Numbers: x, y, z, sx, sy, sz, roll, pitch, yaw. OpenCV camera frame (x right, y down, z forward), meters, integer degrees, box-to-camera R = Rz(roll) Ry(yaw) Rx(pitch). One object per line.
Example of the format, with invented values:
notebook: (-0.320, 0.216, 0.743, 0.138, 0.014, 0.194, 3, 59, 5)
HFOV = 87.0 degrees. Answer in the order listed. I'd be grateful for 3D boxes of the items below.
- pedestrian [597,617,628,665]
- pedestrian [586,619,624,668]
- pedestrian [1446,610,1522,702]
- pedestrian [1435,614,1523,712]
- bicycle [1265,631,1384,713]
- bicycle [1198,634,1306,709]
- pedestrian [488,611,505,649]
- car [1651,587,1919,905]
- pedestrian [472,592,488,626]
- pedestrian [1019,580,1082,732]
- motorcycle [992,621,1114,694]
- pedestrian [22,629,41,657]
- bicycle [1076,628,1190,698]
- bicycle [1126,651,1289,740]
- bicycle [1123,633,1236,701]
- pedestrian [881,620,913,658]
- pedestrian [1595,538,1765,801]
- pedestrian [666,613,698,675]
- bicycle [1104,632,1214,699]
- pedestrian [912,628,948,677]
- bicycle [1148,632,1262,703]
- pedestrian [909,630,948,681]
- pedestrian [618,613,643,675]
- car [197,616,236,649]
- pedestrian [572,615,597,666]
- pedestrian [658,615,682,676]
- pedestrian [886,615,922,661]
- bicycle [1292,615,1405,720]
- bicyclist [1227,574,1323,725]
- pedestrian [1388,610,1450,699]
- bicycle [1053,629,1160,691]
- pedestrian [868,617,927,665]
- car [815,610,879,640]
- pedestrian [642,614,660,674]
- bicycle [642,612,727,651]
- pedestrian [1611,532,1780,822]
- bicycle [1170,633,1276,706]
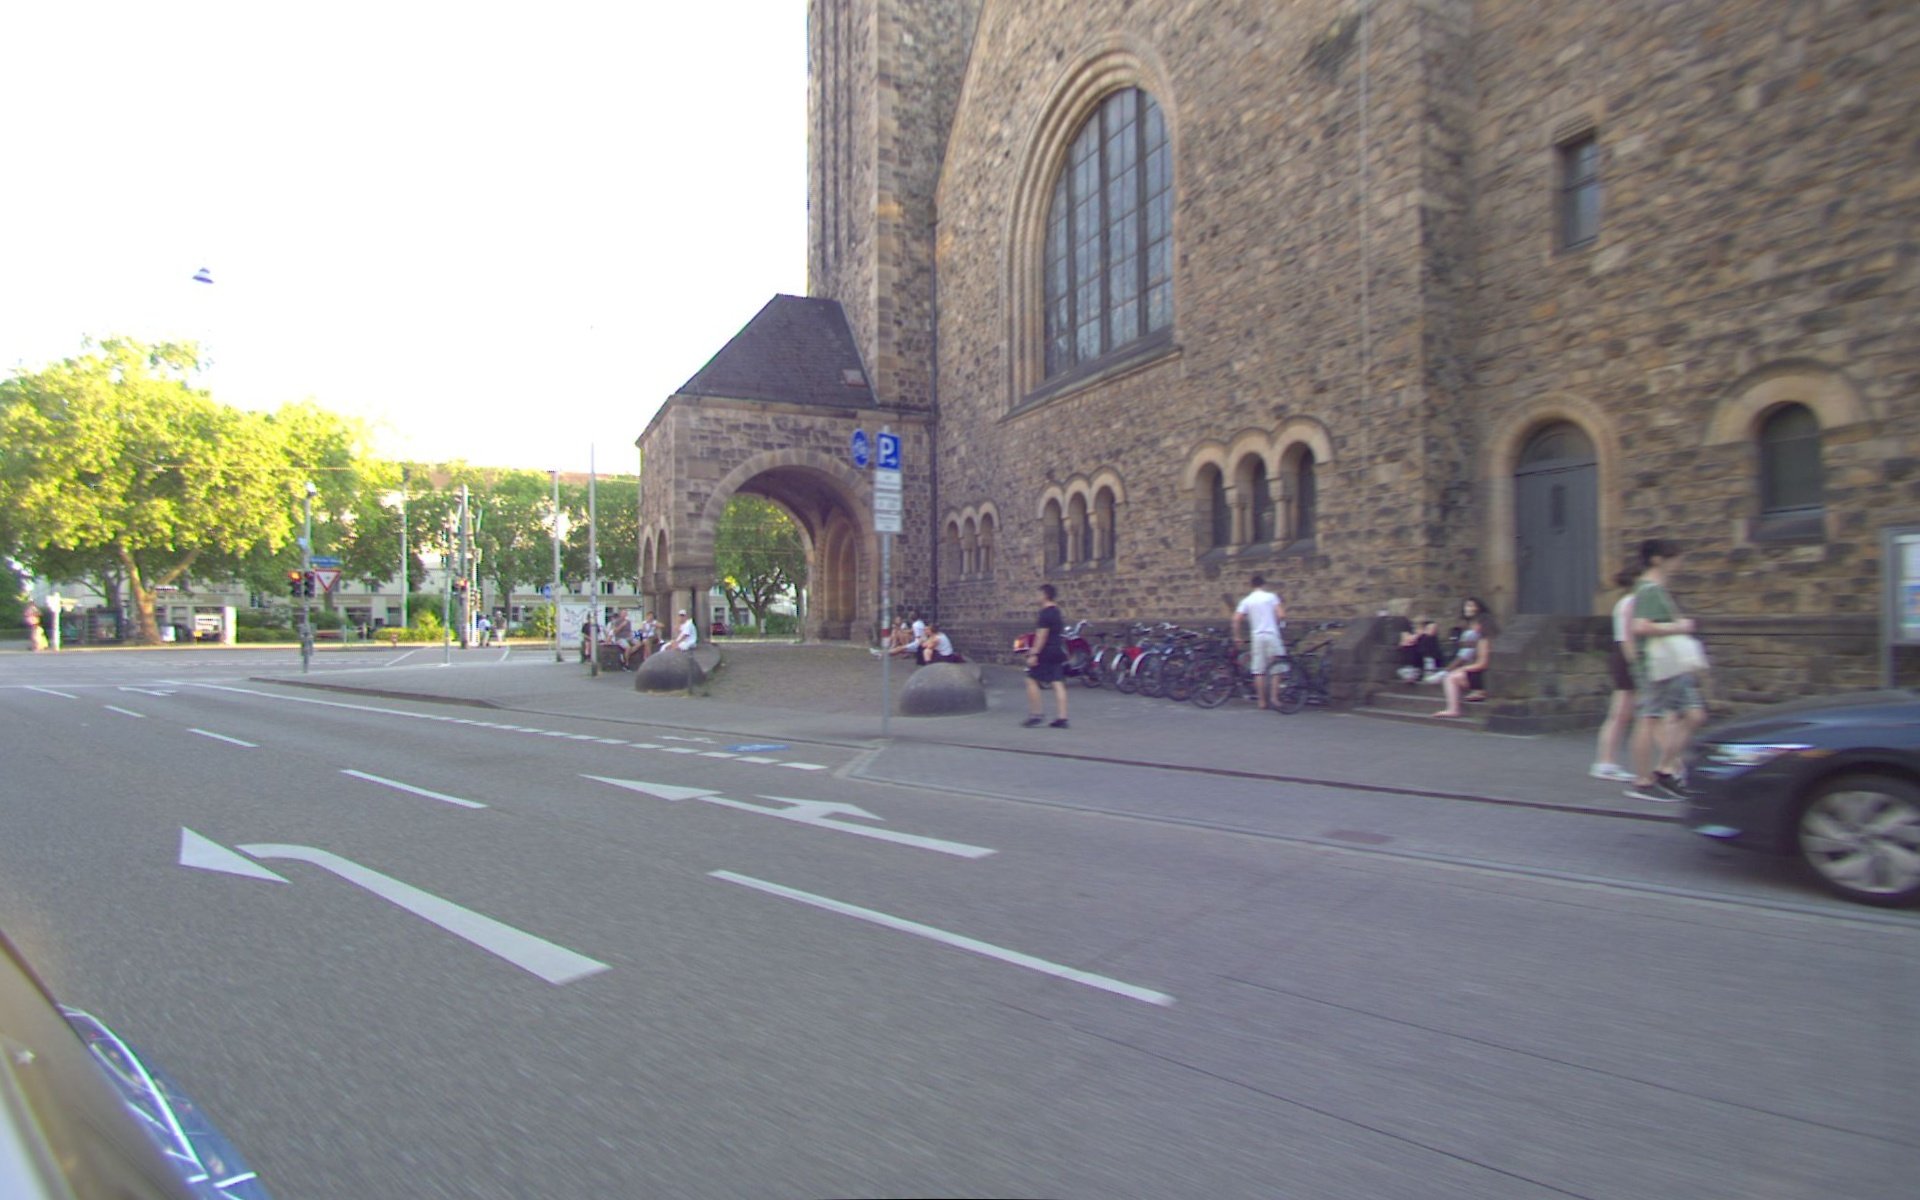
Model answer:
pedestrian: (-10.176, 1.190, 29.657, 0.790, 1.385, 0.701, 0, -2, -15)
pedestrian: (-10.083, 1.227, 28.762, 0.793, 1.385, 0.699, 0, -2, 2)
pedestrian: (6.232, 0.656, 12.041, 0.490, 1.056, 0.609, 0, -1, -29)
pedestrian: (5.846, 0.695, 11.416, 0.509, 1.064, 0.702, 0, -2, -32)
bicycle: (4.748, 0.904, 13.130, 1.853, 0.997, 0.442, 1, -2, -34)
bicycle: (4.180, 0.988, 14.425, 1.853, 0.997, 0.371, 1, -2, -35)
pedestrian: (-23.463, 1.515, 51.269, 0.699, 1.861, 1.163, 0, -2, -29)
car: (5.799, 0.652, 4.480, 4.315, 1.446, 1.764, -2, -2, 43)
pedestrian: (-24.248, 0.461, 51.119, 0.708, 1.646, 1.010, 0, -2, -29)
pedestrian: (1.085, 0.648, 12.005, 0.708, 1.738, 0.690, 0, -2, 8)
motorcycle: (1.689, 0.983, 17.990, 0.822, 1.134, 2.387, -2, 0, 45)
pedestrian: (-55.998, 2.598, 61.054, 0.734, 1.641, 0.661, 0, -2, -32)
bicycle: (2.895, 1.017, 16.824, 1.975, 0.996, 0.587, -3, 0, -34)
bicycle: (3.293, 1.234, 13.431, 2.150, 1.020, 0.555, -1, 0, -21)
bicycle: (3.438, 1.016, 15.767, 1.974, 0.997, 0.467, 1, -2, -34)
pedestrian: (-1.553, 0.963, 24.943, 0.730, 0.923, 0.647, 0, -1, 1)
pedestrian: (5.488, 0.505, 7.739, 0.987, 1.870, 0.567, -2, -2, 38)
pedestrian: (-6.442, 1.008, 23.452, 0.692, 1.417, 0.634, 0, -2, -14)
bicycle: (3.202, 1.027, 16.223, 1.974, 0.997, 0.467, 1, -2, -34)
pedestrian: (-0.609, 1.066, 20.722, 0.642, 0.975, 0.560, -1, -2, 8)
bicycle: (3.737, 0.998, 15.345, 1.957, 0.997, 0.467, 1, -2, -34)
pedestrian: (-0.627, 1.092, 20.114, 0.688, 0.999, 0.560, -1, -2, 8)
pedestrian: (-7.880, 1.043, 24.208, 0.541, 1.464, 0.559, 0, -2, -14)
car: (-47.333, 2.080, 64.466, 1.837, 2.029, 3.820, 1, -2, -34)
pedestrian: (-10.888, 1.172, 29.343, 0.619, 1.465, 0.918, 0, -2, -23)
pedestrian: (-6.858, 1.065, 23.942, 0.539, 1.417, 0.460, 0, -2, -14)
pedestrian: (-1.334, 0.915, 24.269, 0.819, 1.084, 0.647, 0, -1, 1)
bicycle: (4.929, 0.821, 12.803, 1.705, 1.258, 0.438, 1, -2, -35)
bicyclist: (4.131, 0.620, 13.273, 0.926, 1.894, 0.710, -1, -1, -27)
pedestrian: (5.645, 0.656, 12.472, 0.514, 1.056, 0.736, -1, -1, 11)
bicycle: (2.548, 1.015, 17.488, 1.975, 0.997, 0.587, 1, -2, -36)
pedestrian: (-1.444, 0.947, 23.575, 1.315, 1.102, 0.685, 0, -1, 2)
car: (-10.369, 2.285, 93.239, 5.482, 2.638, 2.006, 0, -2, -25)
pedestrian: (-7.466, 1.062, 24.462, 0.395, 1.417, 0.549, 0, -2, -14)
bicycle: (-7.770, 0.879, 28.630, 2.247, 1.065, 0.597, 1, -2, -31)
pedestrian: (5.175, 0.513, 7.141, 0.890, 1.893, 0.640, -2, -2, 38)
bicycle: (3.889, 0.998, 14.887, 1.853, 0.997, 0.371, 1, -2, -34)
